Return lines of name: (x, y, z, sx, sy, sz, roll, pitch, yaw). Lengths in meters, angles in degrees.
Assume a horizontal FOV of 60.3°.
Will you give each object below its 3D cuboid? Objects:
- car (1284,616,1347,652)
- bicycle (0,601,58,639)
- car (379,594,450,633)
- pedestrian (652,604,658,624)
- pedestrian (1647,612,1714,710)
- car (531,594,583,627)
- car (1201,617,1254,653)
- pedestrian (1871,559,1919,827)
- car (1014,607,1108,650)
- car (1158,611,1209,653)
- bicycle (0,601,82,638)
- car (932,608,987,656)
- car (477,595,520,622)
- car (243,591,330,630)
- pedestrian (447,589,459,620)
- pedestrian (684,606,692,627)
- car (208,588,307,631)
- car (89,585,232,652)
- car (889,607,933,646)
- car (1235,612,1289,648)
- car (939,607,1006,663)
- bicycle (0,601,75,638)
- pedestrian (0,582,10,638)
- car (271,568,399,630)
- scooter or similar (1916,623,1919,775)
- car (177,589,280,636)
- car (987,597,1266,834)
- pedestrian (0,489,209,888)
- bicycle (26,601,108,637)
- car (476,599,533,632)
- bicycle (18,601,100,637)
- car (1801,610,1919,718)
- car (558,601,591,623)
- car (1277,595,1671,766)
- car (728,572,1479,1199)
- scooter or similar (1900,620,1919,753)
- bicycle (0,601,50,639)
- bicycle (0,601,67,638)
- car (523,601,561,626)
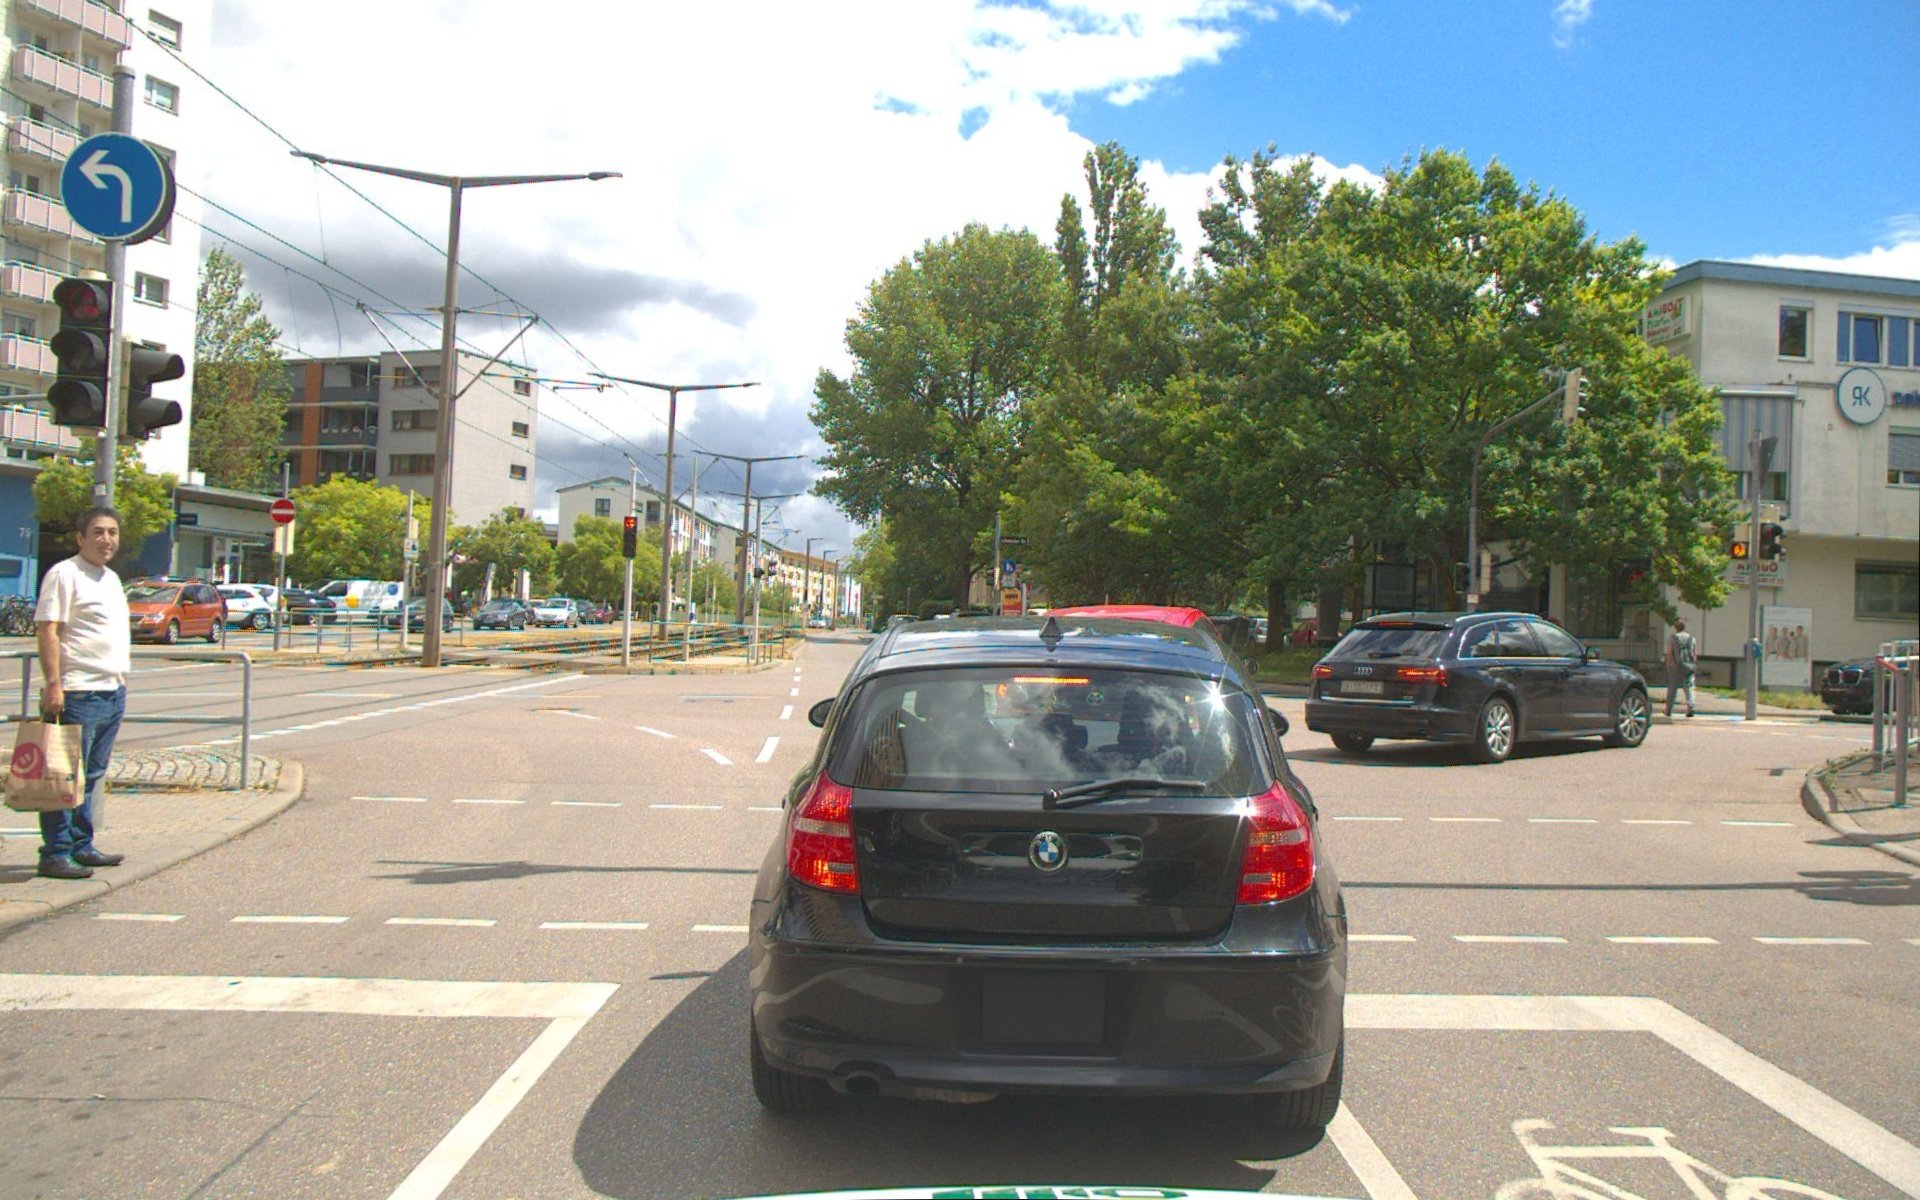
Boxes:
car: (17.074, 1.616, 79.595, 1.698, 1.623, 3.993, 1, 0, -8)
bicycle: (-24.685, 0.516, 43.196, 1.909, 0.951, 0.494, 1, -1, -7)
car: (-21.711, 0.526, 65.974, 1.597, 1.438, 4.251, 1, 1, -3)
pedestrian: (-26.553, 1.215, 144.040, 0.444, 1.665, 0.480, 1, 0, -6)
pedestrian: (12.696, 1.065, 29.163, 0.753, 1.672, 0.907, 2, 0, -1)
car: (-22.060, 0.566, 90.710, 1.898, 1.722, 3.872, 1, 0, -1)
car: (12.573, 1.631, 77.899, 1.598, 1.600, 4.029, 1, 0, -4)
pedestrian: (6.605, 0.593, 10.821, 0.932, 1.703, 0.871, 0, 0, 14)
car: (4.644, 1.307, 75.764, 3.933, 1.855, 1.766, 1, 0, -23)
car: (10.393, 1.453, 77.103, 1.598, 1.842, 4.029, 1, 0, -4)
bicycle: (-24.831, 0.520, 44.678, 1.909, 0.951, 0.494, 1, -1, -7)
car: (-0.030, 1.187, 61.638, 1.953, 1.713, 3.999, 1, -1, -1)
car: (-25.944, 0.459, 93.056, 1.728, 1.419, 3.994, 1, 0, -7)
car: (-27.110, 0.407, 66.537, 1.777, 1.445, 4.148, 1, 0, -45)
pedestrian: (-28.288, 0.253, 92.317, 0.537, 1.746, 0.404, 1, 0, -11)
pedestrian: (-21.047, 1.276, 127.968, 0.469, 1.665, 0.454, 1, 0, -2)
car: (-26.911, 0.345, 63.285, 4.144, 1.564, 1.949, 1, 0, 43)
car: (-21.195, 0.461, 44.035, 1.955, 1.663, 4.456, 0, 0, -5)
car: (-2.249, 1.188, 76.917, 1.953, 1.713, 3.999, 1, 0, -1)
car: (14.420, 1.410, 79.116, 1.598, 1.623, 3.997, 1, 0, -4)
car: (0.374, 1.133, 54.196, 2.108, 1.713, 3.999, 1, -1, -1)
bicycle: (-24.775, 0.519, 44.175, 1.909, 0.951, 0.494, 1, -1, -7)
pedestrian: (-29.437, 0.307, 50.039, 1.081, 1.688, 0.941, 0, -1, 45)
car: (-27.087, -0.066, 71.545, 2.810, 2.522, 6.614, 1, 0, -44)
scooter or similar: (8.399, 0.781, 13.113, 1.315, 1.299, 0.462, 1, 1, 6)
car: (-26.555, 0.456, 59.990, 4.144, 1.597, 1.949, 1, 0, 43)
car: (1.347, 0.735, 12.233, 1.509, 1.466, 3.198, 1, 0, 15)
pedestrian: (-4.252, 0.409, 8.033, 0.851, 1.839, 0.741, 1, 0, -5)
bicycle: (-24.731, 0.527, 45.825, 1.909, 0.951, 0.494, 1, -1, -7)
car: (-21.352, 0.720, 77.688, 1.602, 1.424, 4.491, 2, -1, -3)
bicycle: (-24.694, 0.525, 45.335, 1.909, 0.951, 0.494, 1, -1, -7)
car: (17.186, 1.108, 28.476, 4.472, 1.747, 1.997, 1, 0, -8)
car: (-25.994, 0.787, 111.745, 1.728, 1.419, 3.994, 1, 0, -7)
car: (5.536, 0.776, 17.515, 4.481, 1.581, 1.970, 1, -1, -41)
car: (0.315, 0.706, 5.843, 1.717, 1.513, 3.999, 1, 0, -1)
scooter or similar: (9.208, 0.810, 14.931, 1.338, 1.176, 0.539, 3, 0, -26)
bicycle: (-24.627, 0.515, 42.693, 1.909, 0.951, 0.494, 1, -1, -7)
bicycle: (-24.731, 0.517, 43.700, 1.909, 0.951, 0.494, 1, -1, -7)
car: (-25.379, 0.806, 100.595, 1.728, 1.419, 3.994, 1, 0, -7)
